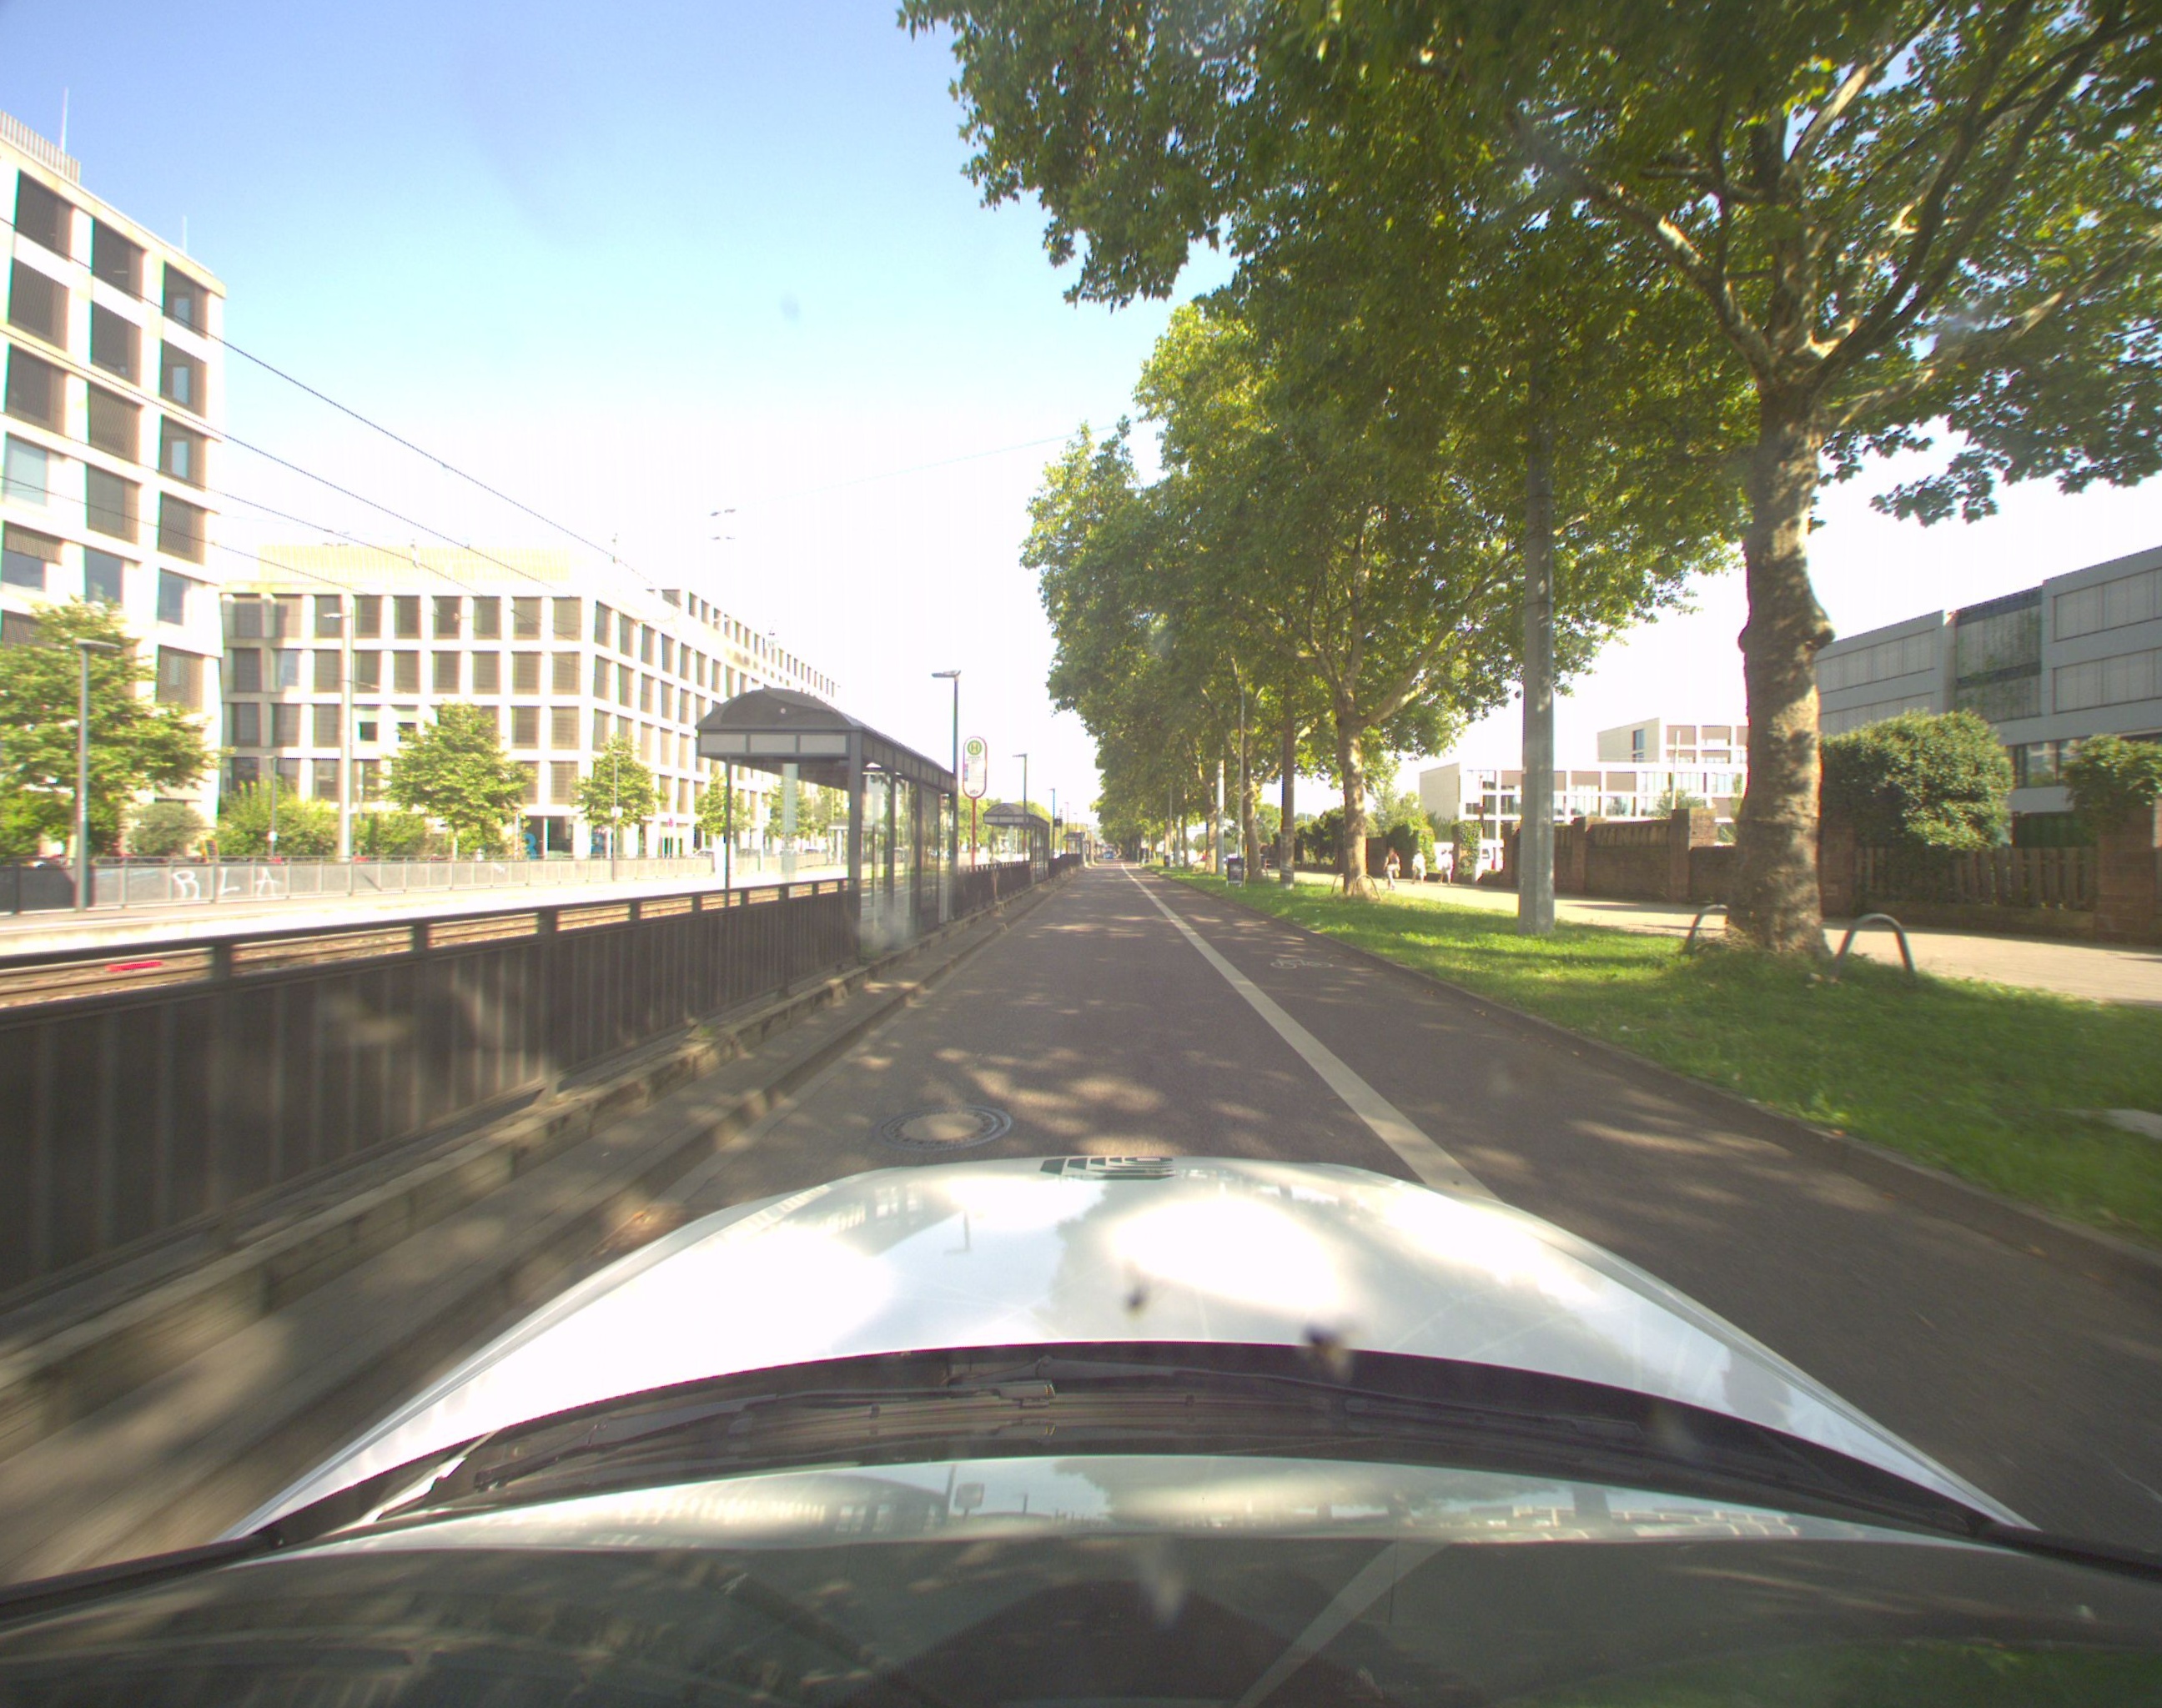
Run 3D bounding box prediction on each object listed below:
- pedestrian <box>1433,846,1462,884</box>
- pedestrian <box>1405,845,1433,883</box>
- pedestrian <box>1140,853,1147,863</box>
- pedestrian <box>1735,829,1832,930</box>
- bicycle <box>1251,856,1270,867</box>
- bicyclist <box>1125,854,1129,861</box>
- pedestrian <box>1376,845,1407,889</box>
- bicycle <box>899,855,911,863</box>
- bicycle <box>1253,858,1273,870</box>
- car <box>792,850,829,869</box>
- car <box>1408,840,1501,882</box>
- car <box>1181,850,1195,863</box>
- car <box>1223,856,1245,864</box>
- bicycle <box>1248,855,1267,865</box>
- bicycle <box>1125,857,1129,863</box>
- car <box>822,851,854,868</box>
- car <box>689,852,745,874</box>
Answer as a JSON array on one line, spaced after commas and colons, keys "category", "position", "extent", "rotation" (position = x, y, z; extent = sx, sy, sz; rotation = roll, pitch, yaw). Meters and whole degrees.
[{"category": "pedestrian", "position": [15.685, 0.456, 34.910], "extent": [0.803, 1.604, 0.947], "rotation": [-1, 0, 2]}, {"category": "pedestrian", "position": [14.546, 0.425, 35.016], "extent": [0.803, 1.604, 0.947], "rotation": [-1, 0, 2]}, {"category": "pedestrian", "position": [9.987, 0.620, 130.100], "extent": [0.619, 1.617, 0.850], "rotation": [0, 0, 39]}, {"category": "pedestrian", "position": [12.229, 0.432, 14.214], "extent": [0.816, 1.686, 1.012], "rotation": [0, 0, 2]}, {"category": "bicycle", "position": [16.120, 0.672, 73.207], "extent": [1.647, 0.969, 0.507], "rotation": [-2, 0, 7]}, {"category": "bicyclist", "position": [8.798, 0.691, 157.268], "extent": [0.703, 1.461, 1.009], "rotation": [1, -1, 2]}, {"category": "pedestrian", "position": [11.924, 0.489, 31.282], "extent": [0.803, 1.636, 0.947], "rotation": [-1, 0, 2]}, {"category": "bicycle", "position": [-14.926, 0.390, 69.043], "extent": [0.474, 0.662, 1.616], "rotation": [0, 0, 6]}, {"category": "bicycle", "position": [15.709, 0.841, 70.311], "extent": [1.647, 0.969, 0.507], "rotation": [-2, 0, 7]}, {"category": "car", "position": [-22.907, 0.462, 69.124], "extent": [1.636, 1.550, 4.224], "rotation": [0, 0, 2]}, {"category": "car", "position": [22.292, 0.403, 48.757], "extent": [4.645, 2.318, 2.056], "rotation": [1, -1, 1]}, {"category": "car", "position": [16.712, 0.337, 127.310], "extent": [1.715, 2.048, 4.464], "rotation": [0, 0, 2]}, {"category": "car", "position": [26.770, 1.059, 142.932], "extent": [3.753, 1.446, 1.530], "rotation": [1, 0, 8]}, {"category": "bicycle", "position": [16.805, 0.580, 77.533], "extent": [1.649, 0.969, 0.507], "rotation": [-2, 0, 4]}, {"category": "bicycle", "position": [8.786, 1.160, 157.187], "extent": [0.712, 1.107, 2.510], "rotation": [1, 0, 2]}, {"category": "car", "position": [-22.825, 0.489, 76.655], "extent": [1.636, 1.550, 4.224], "rotation": [0, 0, 2]}, {"category": "car", "position": [-23.647, 0.547, 53.020], "extent": [1.636, 1.377, 4.224], "rotation": [0, 0, 2]}]
